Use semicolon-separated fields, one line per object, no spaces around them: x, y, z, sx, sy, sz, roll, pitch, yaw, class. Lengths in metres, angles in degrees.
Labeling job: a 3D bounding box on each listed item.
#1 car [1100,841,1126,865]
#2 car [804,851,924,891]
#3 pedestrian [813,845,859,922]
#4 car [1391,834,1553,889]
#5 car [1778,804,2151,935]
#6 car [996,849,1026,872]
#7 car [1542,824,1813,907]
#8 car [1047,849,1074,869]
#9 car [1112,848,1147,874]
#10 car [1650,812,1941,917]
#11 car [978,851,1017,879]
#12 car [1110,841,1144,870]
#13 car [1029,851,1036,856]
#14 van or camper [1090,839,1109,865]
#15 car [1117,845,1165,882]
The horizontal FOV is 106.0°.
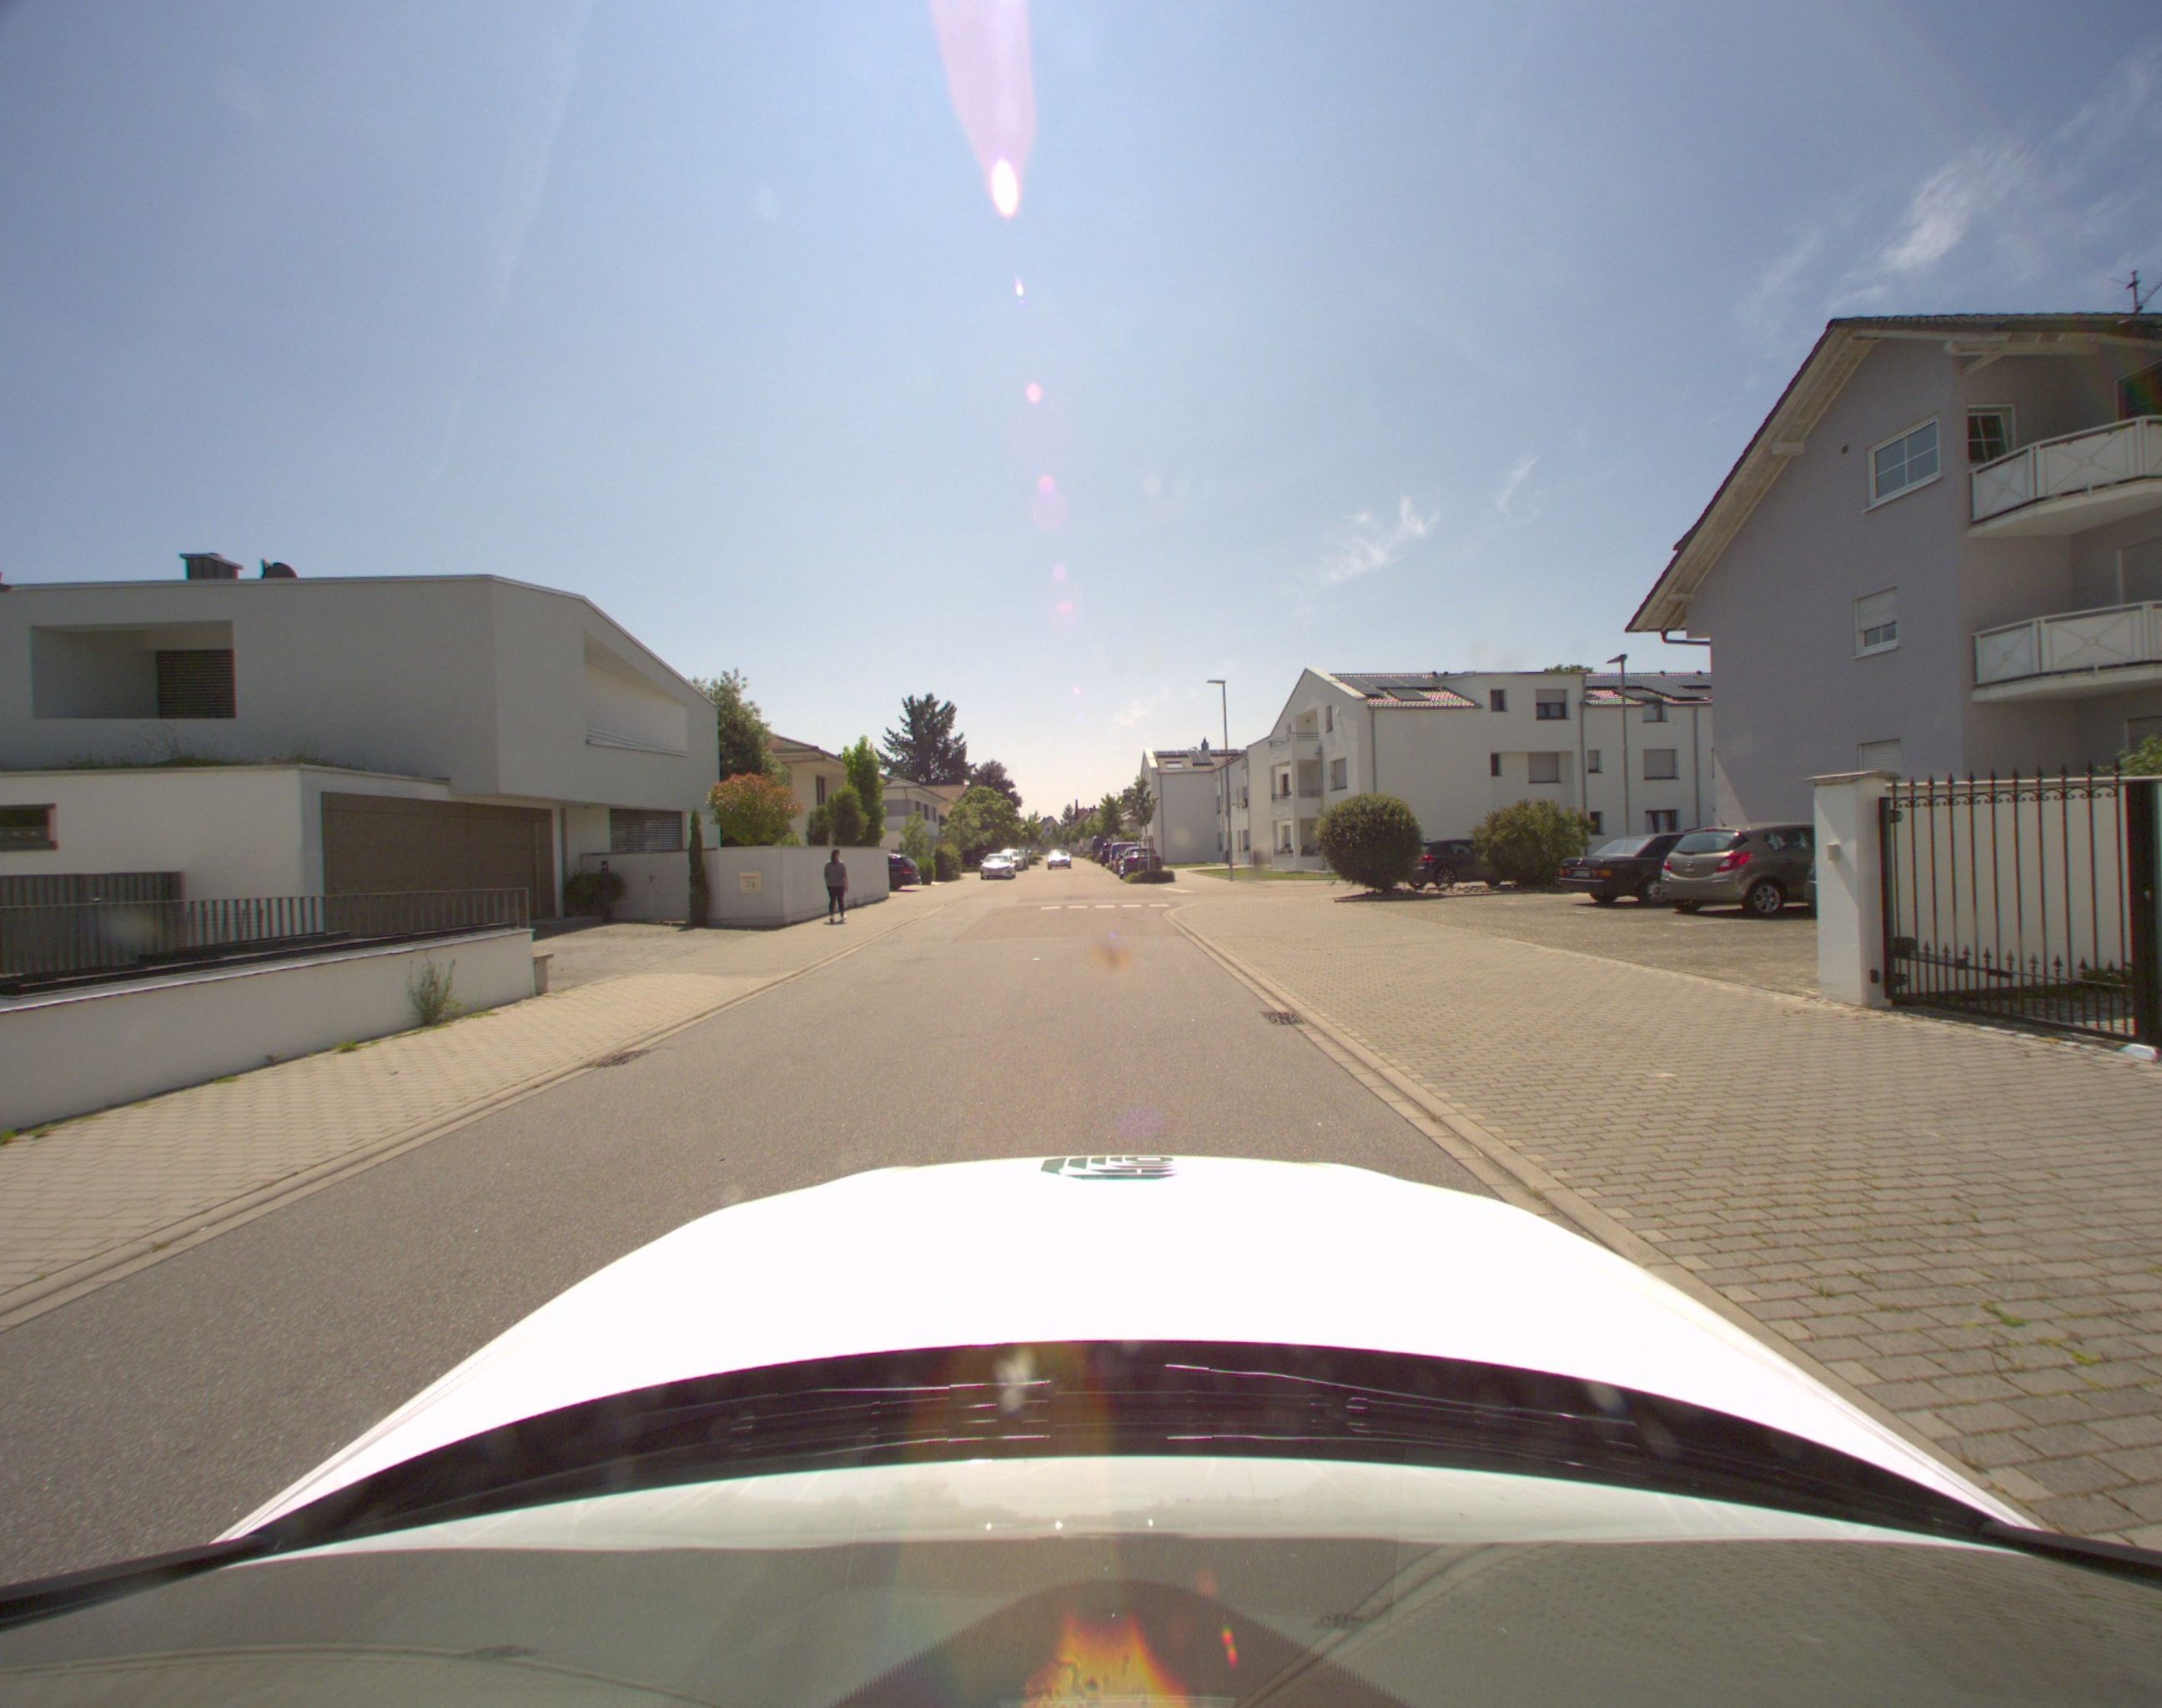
2.703;-0.111;70.384;1.987;1.947;5.214;-3;0;0;car
-8.927;0.673;33.725;4.410;1.473;1.852;1;0;3;car
-5.752;0.683;19.161;0.712;1.747;0.960;-2;0;0;pedestrian
11.615;0.205;24.382;3.978;1.467;1.756;-2;0;0;car
11.781;0.171;10.989;3.496;1.496;1.661;-2;0;-7;car
-5.382;0.469;62.960;1.921;1.687;4.497;-2;0;0;car
11.518;0.193;15.877;4.193;1.374;1.662;-2;0;-4;car
-1.632;0.386;65.545;1.846;1.478;4.701;-2;0;1;car
2.912;0.395;49.560;1.676;1.441;4.023;-2;0;-3;car
11.665;0.151;13.441;3.438;1.494;1.662;-2;0;-4;car
-4.857;0.591;47.879;1.846;1.488;4.384;-2;0;0;car
3.152;0.100;56.243;2.092;1.882;4.843;-2;0;1;car
-14.895;-0.181;249.822;1.658;1.250;3.931;-2;0;0;car
2.164;-0.281;95.374;1.987;2.941;3.999;-1;0;-1;van or camper
2.849;0.421;39.431;1.769;1.595;4.275;-3;0;-3;car
